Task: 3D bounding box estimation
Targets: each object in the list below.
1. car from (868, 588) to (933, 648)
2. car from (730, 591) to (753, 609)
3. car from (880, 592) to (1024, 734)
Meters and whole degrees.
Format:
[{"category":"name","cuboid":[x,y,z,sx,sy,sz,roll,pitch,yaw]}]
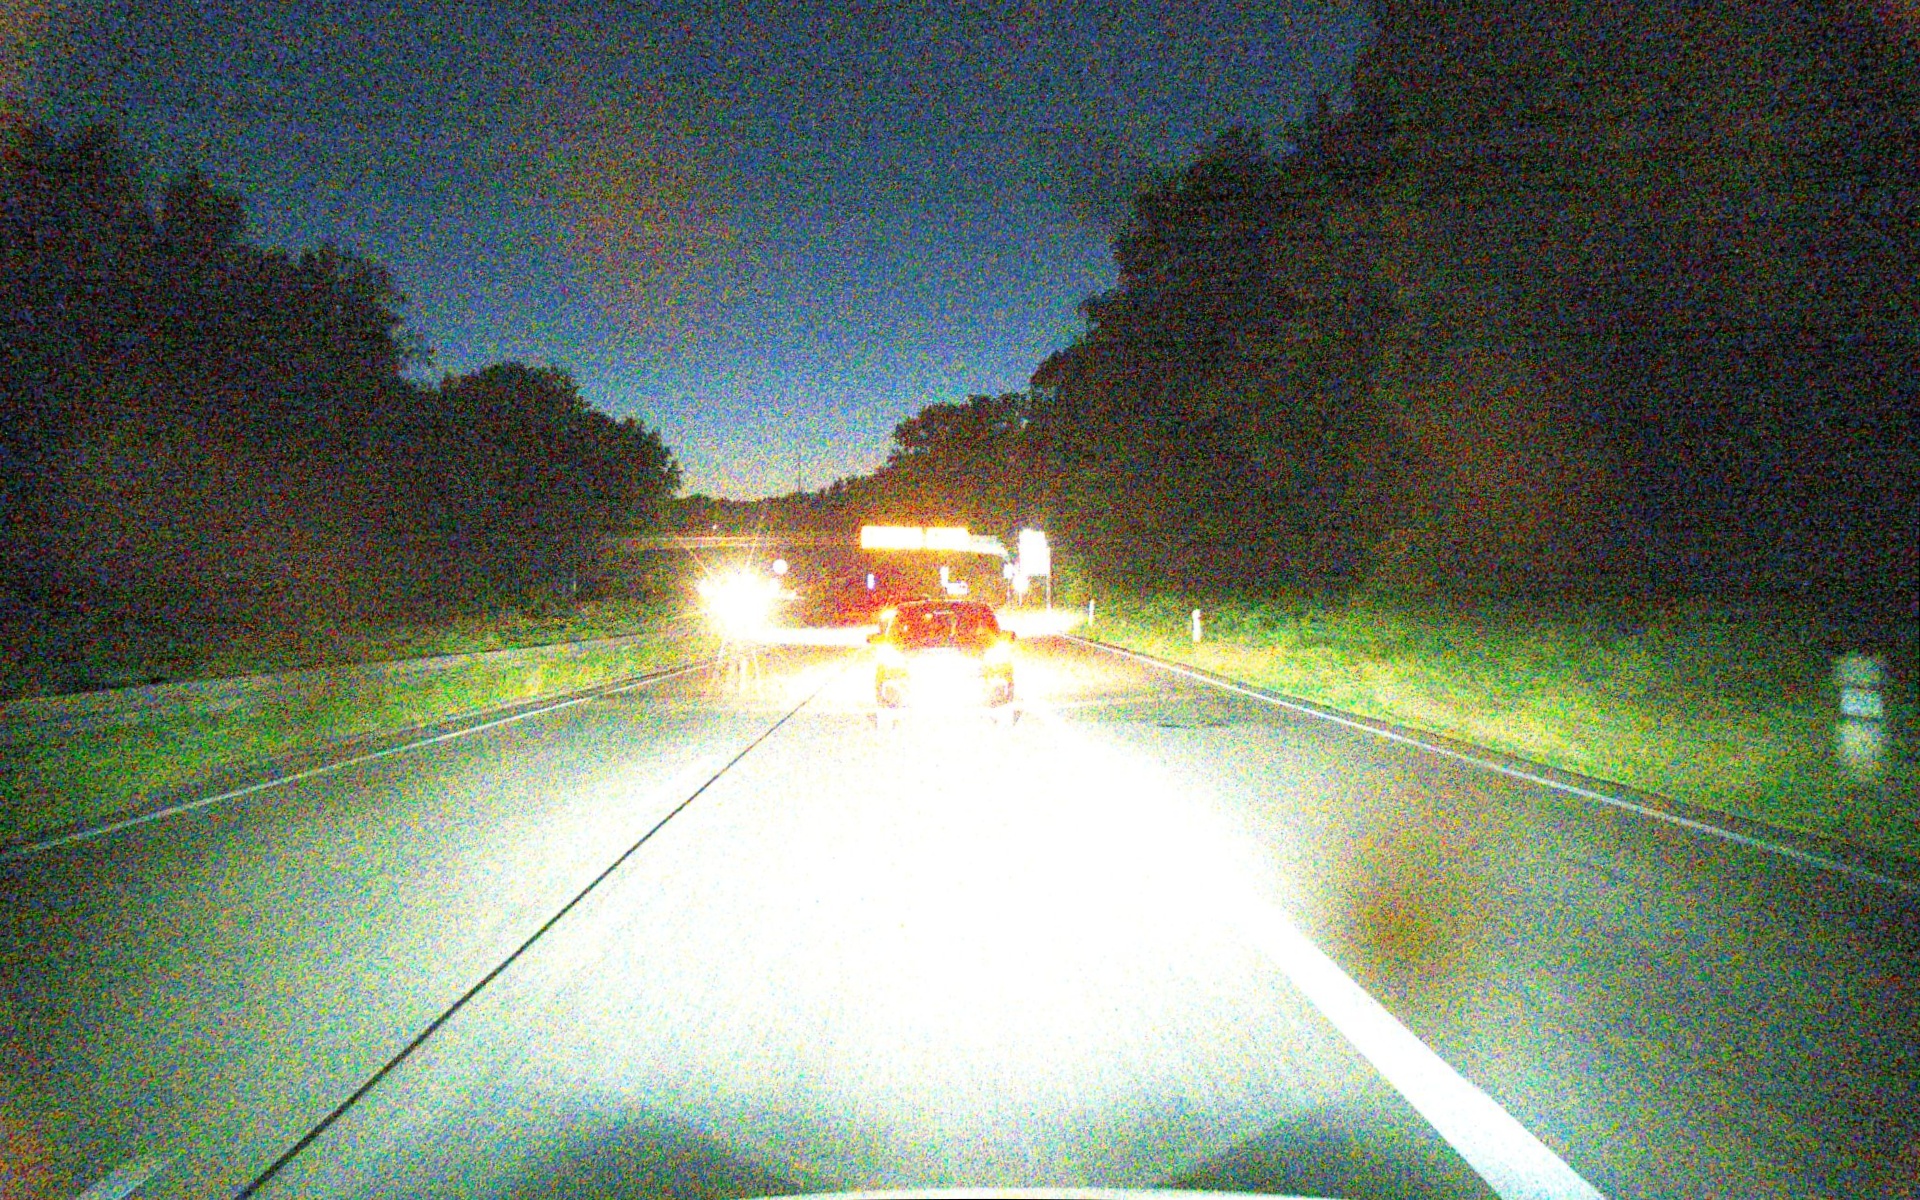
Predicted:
[{"category":"car","cuboid":[-1.797,0.512,50.421,1.868,1.728,3.999,1,1,-2]},{"category":"car","cuboid":[-22.597,-0.041,171.070,1.927,1.794,5.030,-1,0,-2]},{"category":"car","cuboid":[-0.182,0.691,20.200,1.556,1.534,3.998,-1,0,-3]}]
